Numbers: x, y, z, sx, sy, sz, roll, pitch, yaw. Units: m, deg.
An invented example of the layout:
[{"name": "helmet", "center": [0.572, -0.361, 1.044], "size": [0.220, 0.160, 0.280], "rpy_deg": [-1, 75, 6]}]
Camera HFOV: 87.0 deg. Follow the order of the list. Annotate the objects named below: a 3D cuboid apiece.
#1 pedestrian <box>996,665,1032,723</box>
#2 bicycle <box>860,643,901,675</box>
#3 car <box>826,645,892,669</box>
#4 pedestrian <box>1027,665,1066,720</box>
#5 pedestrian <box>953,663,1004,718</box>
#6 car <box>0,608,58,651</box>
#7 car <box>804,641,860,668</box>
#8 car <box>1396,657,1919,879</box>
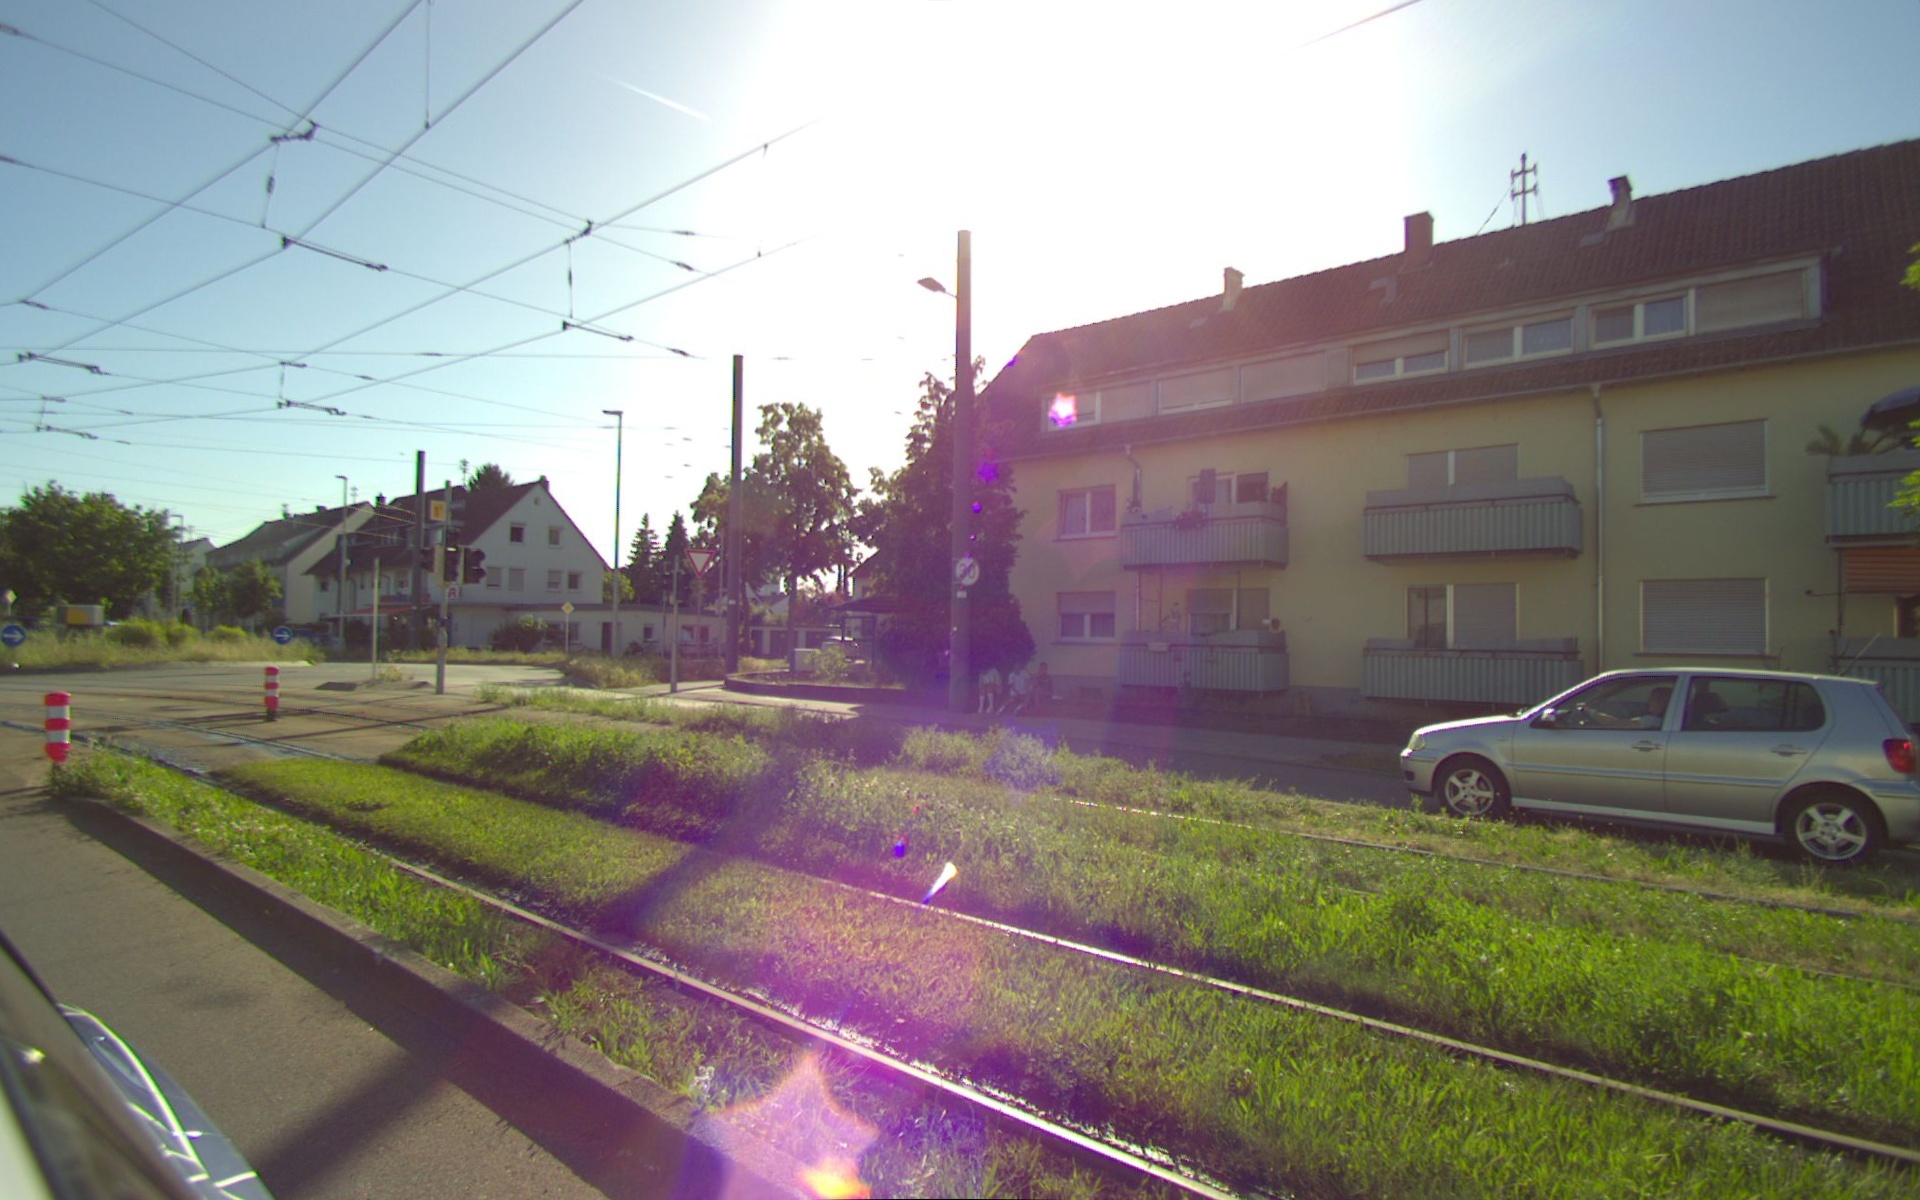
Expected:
[{"name": "pedestrian", "center": [1.094, 1.867, 20.290], "size": [0.619, 1.073, 0.818], "rpy_deg": [2, -2, 8]}, {"name": "bicycle", "center": [-3.229, 2.406, 41.128], "size": [1.672, 1.217, 0.679], "rpy_deg": [1, -2, 45]}, {"name": "car", "center": [-6.136, 3.501, 61.804], "size": [1.600, 1.375, 3.942], "rpy_deg": [1, -2, 43]}, {"name": "pedestrian", "center": [1.705, 1.804, 19.912], "size": [0.590, 1.013, 0.720], "rpy_deg": [2, -2, 17]}, {"name": "pedestrian", "center": [0.382, 1.845, 20.777], "size": [0.687, 1.054, 0.809], "rpy_deg": [0, -3, 39]}, {"name": "car", "center": [-37.886, 1.084, 38.939], "size": [4.366, 1.592, 1.841], "rpy_deg": [3, -2, -13]}, {"name": "car", "center": [-8.898, 3.782, 70.127], "size": [1.969, 1.707, 4.057], "rpy_deg": [4, -2, -40]}, {"name": "car", "center": [5.782, 1.223, 8.434], "size": [3.659, 1.423, 1.533], "rpy_deg": [-2, -4, 43]}]
